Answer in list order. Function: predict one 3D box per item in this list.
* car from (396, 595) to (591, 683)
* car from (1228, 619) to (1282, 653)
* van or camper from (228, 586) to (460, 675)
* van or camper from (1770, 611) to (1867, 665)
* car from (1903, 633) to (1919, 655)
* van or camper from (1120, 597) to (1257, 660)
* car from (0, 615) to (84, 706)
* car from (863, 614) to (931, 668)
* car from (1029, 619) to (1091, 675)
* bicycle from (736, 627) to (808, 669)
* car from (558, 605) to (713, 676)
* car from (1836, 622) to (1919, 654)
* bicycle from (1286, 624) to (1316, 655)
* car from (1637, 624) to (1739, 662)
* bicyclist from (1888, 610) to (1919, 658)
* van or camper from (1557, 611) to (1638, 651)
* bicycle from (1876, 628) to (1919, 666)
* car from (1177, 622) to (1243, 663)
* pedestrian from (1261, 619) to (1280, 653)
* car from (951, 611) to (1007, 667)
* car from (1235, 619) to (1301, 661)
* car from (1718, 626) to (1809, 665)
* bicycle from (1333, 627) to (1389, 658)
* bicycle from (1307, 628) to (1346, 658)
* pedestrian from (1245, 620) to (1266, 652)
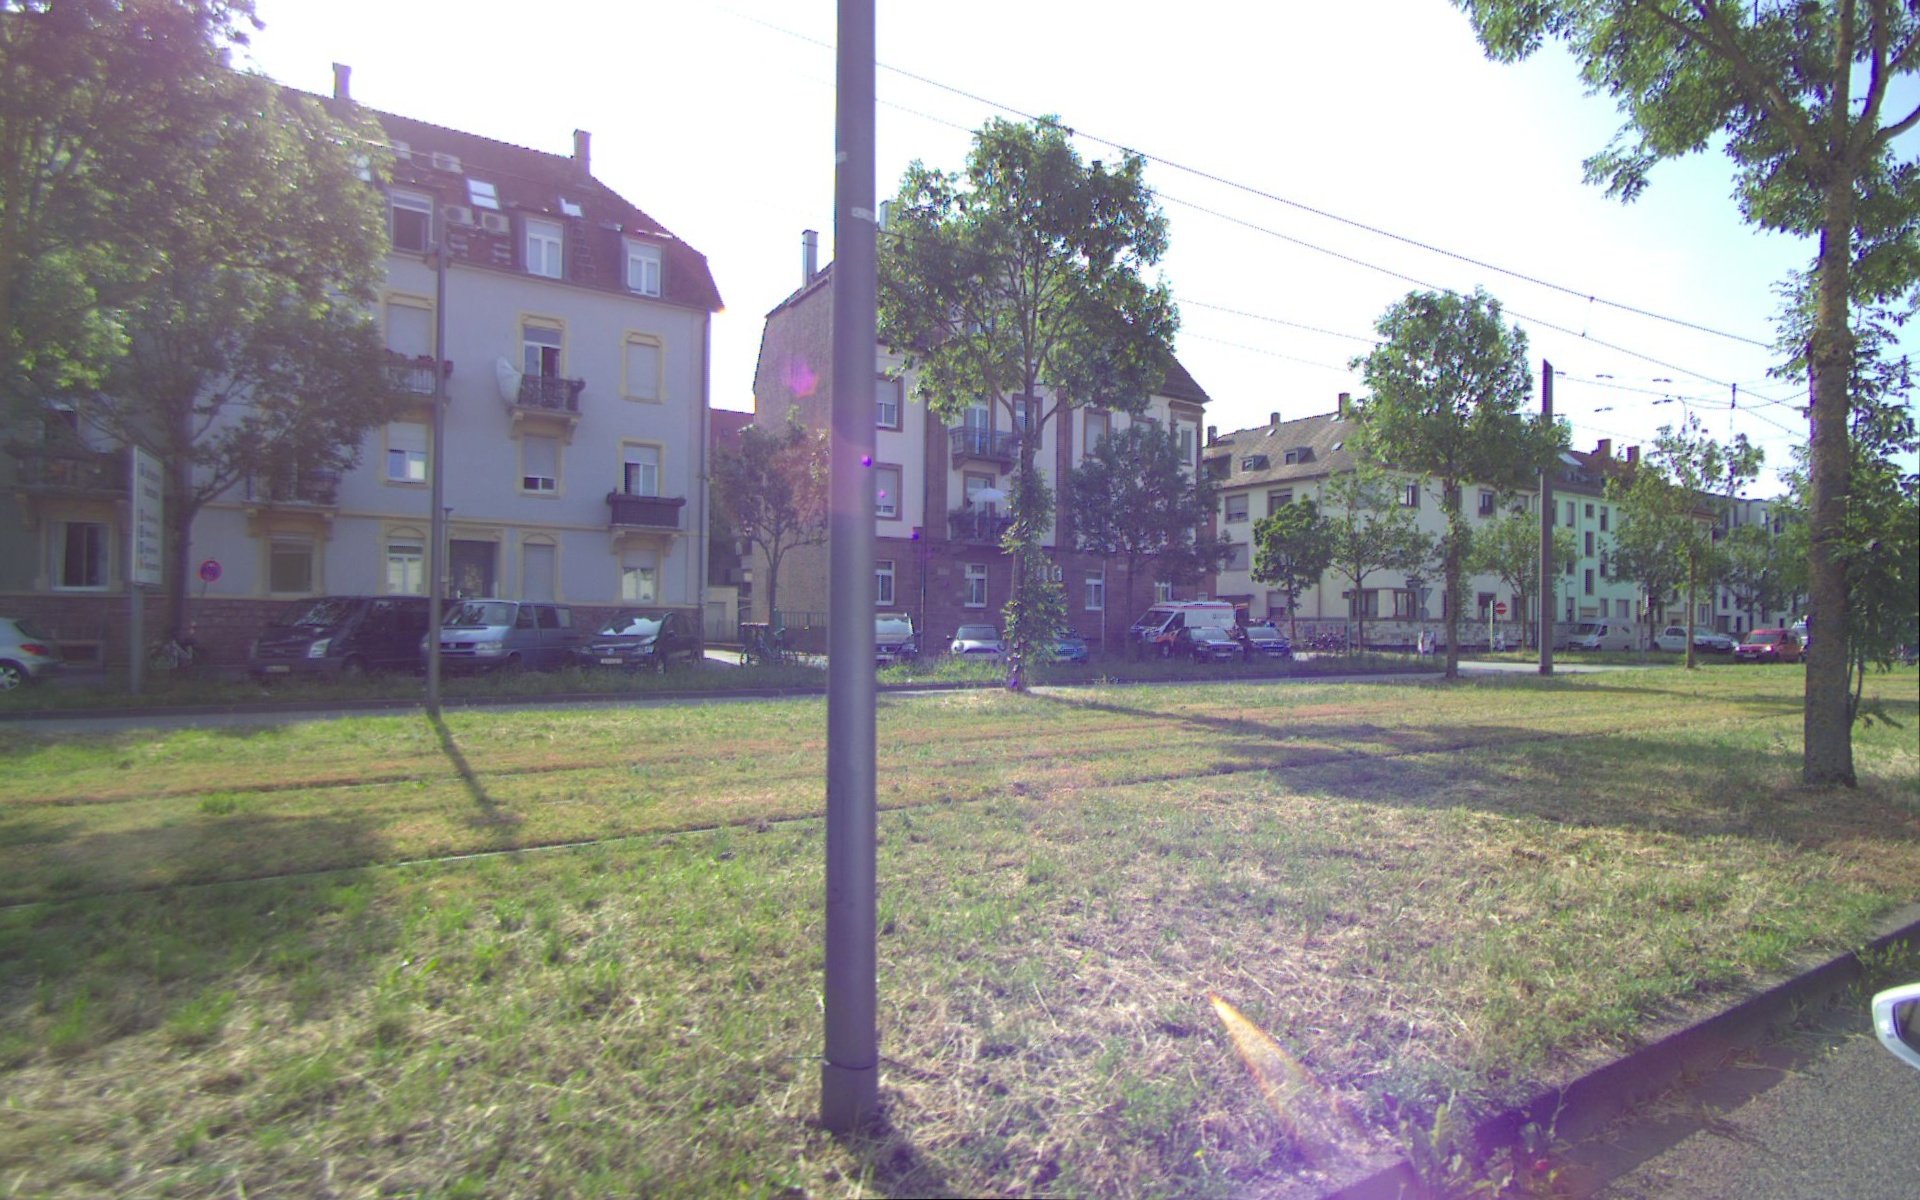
[{"bbox_3d":[-10.290,0.769,22.713,2.017,1.645,5.221,2,0,-1],"label":"car"},{"bbox_3d":[17.170,2.027,58.387,1.981,1.790,4.323,3,1,30],"label":"car"},{"bbox_3d":[-13.123,0.578,21.857,1.963,1.645,4.850,2,0,1],"label":"van or camper"},{"bbox_3d":[44.601,1.976,52.139,5.966,2.565,2.190,2,1,-33],"label":"van or camper"},{"bbox_3d":[72.218,3.326,73.973,1.436,1.550,3.996,2,1,-6],"label":"car"},{"bbox_3d":[10.113,1.276,44.282,6.289,2.601,2.027,2,1,-33],"label":"van or camper"},{"bbox_3d":[-19.722,1.137,19.235,4.107,1.650,1.881,2,1,-30],"label":"car"},{"bbox_3d":[-1.746,1.128,28.859,1.606,1.286,4.000,2,0,1],"label":"car"},{"bbox_3d":[3.032,1.403,31.058,1.546,1.436,4.000,2,0,1],"label":"car"},{"bbox_3d":[-5.067,1.287,27.139,0.460,1.063,1.991,3,1,44],"label":"bicycle"},{"bbox_3d":[-7.686,0.900,24.313,1.935,1.438,4.478,2,0,5],"label":"car"},{"bbox_3d":[67.236,2.715,73.160,1.841,2.040,5.229,2,1,-6],"label":"car"},{"bbox_3d":[18.062,2.094,53.309,0.912,1.481,3.222,2,1,9],"label":"bicycle"},{"bbox_3d":[40.772,2.361,56.439,1.960,1.761,5.328,2,0,2],"label":"car"},{"bbox_3d":[36.382,1.318,38.395,1.130,1.785,0.684,3,1,32],"label":"bicyclist"},{"bbox_3d":[41.210,2.028,64.886,5.760,2.359,1.983,2,1,-31],"label":"van or camper"},{"bbox_3d":[36.455,1.813,38.350,2.037,1.342,0.782,3,1,33],"label":"bicycle"},{"bbox_3d":[8.608,1.444,34.808,1.467,1.176,3.164,2,0,0],"label":"car"},{"bbox_3d":[15.624,1.804,50.546,0.611,1.688,0.579,2,1,-28],"label":"pedestrian"},{"bbox_3d":[0.629,1.127,30.406,1.545,1.436,4.001,2,0,3],"label":"car"},{"bbox_3d":[11.269,1.425,36.934,1.467,1.344,3.165,2,0,2],"label":"car"},{"bbox_3d":[38.933,2.198,48.656,4.244,1.716,1.956,2,1,-29],"label":"car"},{"bbox_3d":[21.571,2.294,54.125,1.090,1.481,2.661,2,1,-28],"label":"bicycle"},{"bbox_3d":[19.511,2.268,53.540,0.961,1.378,3.059,2,1,2],"label":"bicycle"},{"bbox_3d":[14.746,1.805,50.164,0.717,1.543,0.634,2,1,-28],"label":"pedestrian"}]
